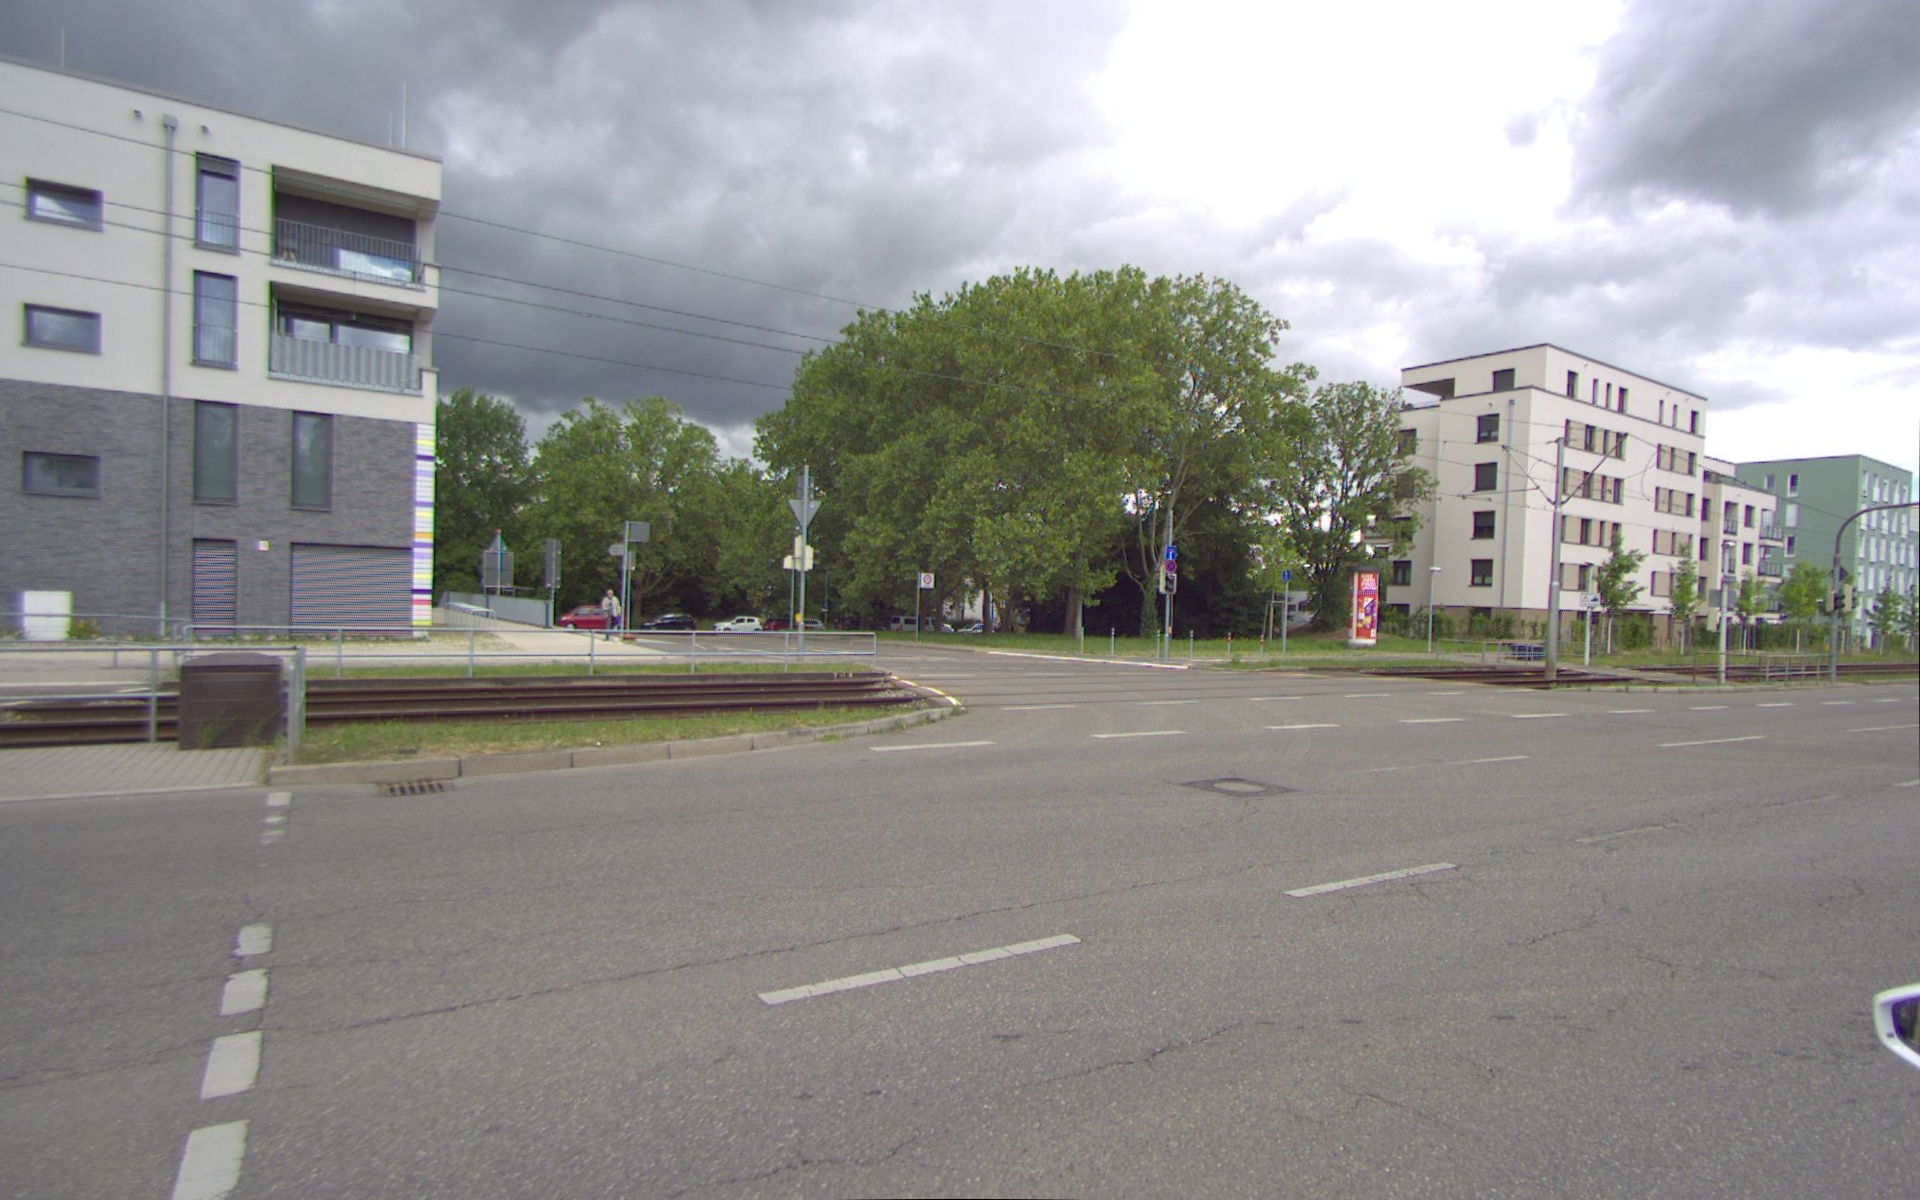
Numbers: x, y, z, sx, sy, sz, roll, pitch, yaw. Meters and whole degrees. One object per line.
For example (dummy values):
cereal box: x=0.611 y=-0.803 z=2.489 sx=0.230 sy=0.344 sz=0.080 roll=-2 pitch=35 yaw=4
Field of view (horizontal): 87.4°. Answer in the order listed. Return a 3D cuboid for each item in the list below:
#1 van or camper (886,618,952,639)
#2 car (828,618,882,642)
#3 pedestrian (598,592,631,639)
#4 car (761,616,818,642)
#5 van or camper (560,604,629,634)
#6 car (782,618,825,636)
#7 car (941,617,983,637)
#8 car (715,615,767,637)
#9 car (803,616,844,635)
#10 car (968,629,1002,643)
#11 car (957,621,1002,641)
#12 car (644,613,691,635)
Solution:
van or camper: x=-3.239 y=2.275 z=79.600 sx=4.951 sy=1.553 sz=1.848 roll=2 pitch=-1 yaw=-32
car: x=-7.975 y=2.306 z=76.342 sx=3.746 sy=1.684 sz=1.649 roll=3 pitch=-1 yaw=-34
pedestrian: x=-13.045 y=0.587 z=37.888 sx=0.981 sy=1.692 sz=0.849 roll=3 pitch=0 yaw=-30
car: x=-12.352 y=2.091 z=72.851 sx=3.744 sy=1.684 sz=1.650 roll=3 pitch=-1 yaw=-32
van or camper: x=-26.423 y=1.404 z=72.580 sx=4.499 sy=2.051 sz=2.034 roll=2 pitch=0 yaw=-26
car: x=-12.565 y=2.168 z=80.553 sx=3.098 sy=1.362 sz=1.438 roll=2 pitch=0 yaw=-26
car: x=0.183 y=2.593 z=95.747 sx=3.718 sy=1.752 sz=1.662 roll=3 pitch=0 yaw=-10
car: x=-16.956 y=2.025 z=77.756 sx=3.548 sy=1.557 sz=1.862 roll=2 pitch=-1 yaw=-26
car: x=-12.813 y=2.397 z=94.503 sx=3.380 sy=1.586 sz=1.666 roll=2 pitch=0 yaw=13
car: x=2.459 y=3.563 z=99.528 sx=3.083 sy=1.362 sz=1.445 roll=2 pitch=0 yaw=-10
car: x=1.735 y=2.733 z=89.207 sx=3.772 sy=1.671 sz=1.683 roll=1 pitch=0 yaw=-36
car: x=-21.777 y=1.808 z=74.804 sx=3.098 sy=1.522 sz=1.594 roll=2 pitch=0 yaw=-26
